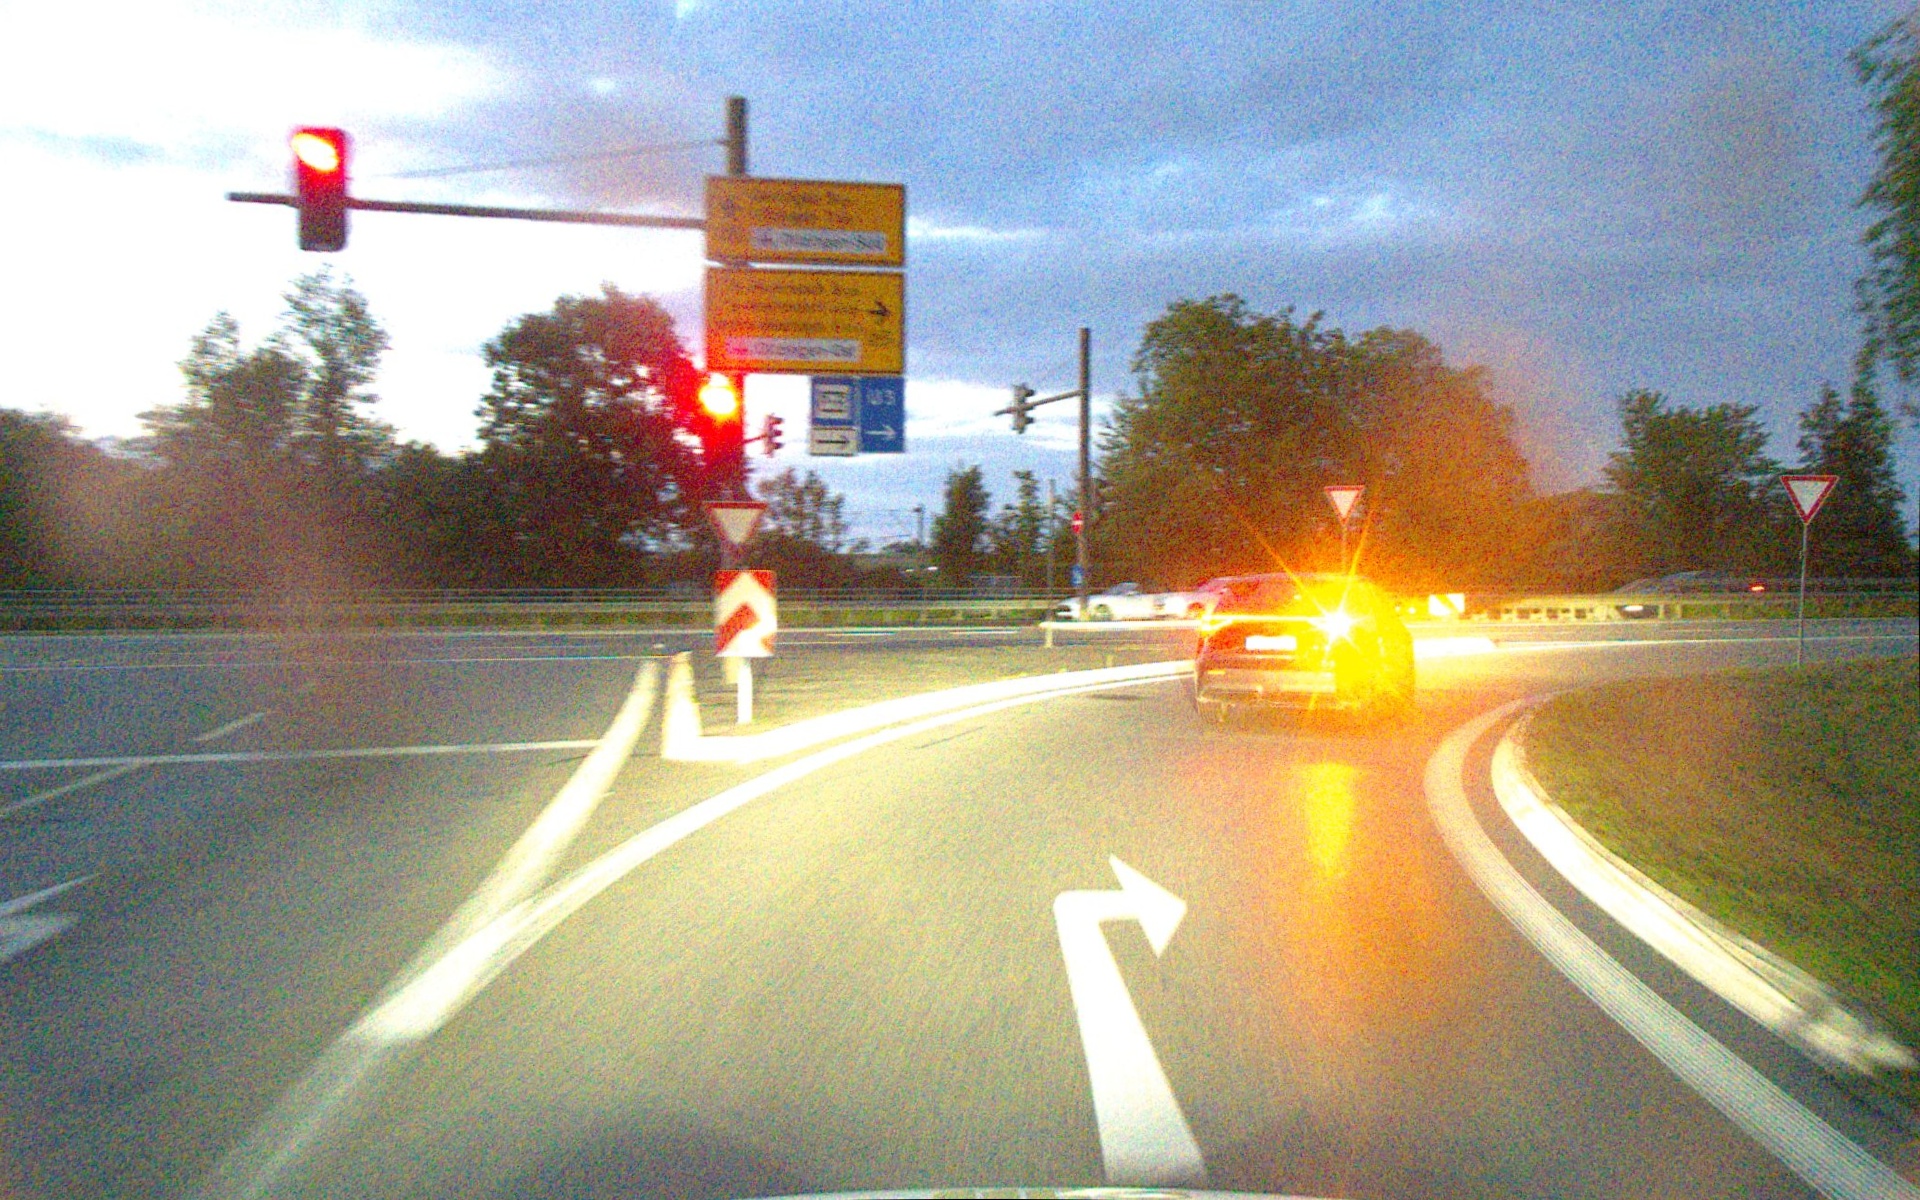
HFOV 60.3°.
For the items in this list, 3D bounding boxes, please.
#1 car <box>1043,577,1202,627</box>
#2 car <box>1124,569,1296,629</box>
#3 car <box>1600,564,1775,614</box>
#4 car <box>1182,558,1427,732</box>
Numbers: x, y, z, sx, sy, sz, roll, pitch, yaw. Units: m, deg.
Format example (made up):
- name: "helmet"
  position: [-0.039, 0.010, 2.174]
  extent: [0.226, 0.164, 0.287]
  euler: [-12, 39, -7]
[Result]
- name: "car"
  position: [5.152, 0.050, 52.437]
  extent: [4.652, 1.478, 1.987]
  euler: [-1, 0, -21]
- name: "car"
  position: [7.467, -0.012, 49.452]
  extent: [4.789, 1.711, 1.987]
  euler: [0, 0, -22]
- name: "car"
  position: [22.507, -0.341, 51.167]
  extent: [4.956, 1.478, 1.989]
  euler: [-1, 0, -20]
- name: "car"
  position: [3.983, 0.414, 18.507]
  extent: [1.862, 1.648, 4.556]
  euler: [2, 1, 22]
